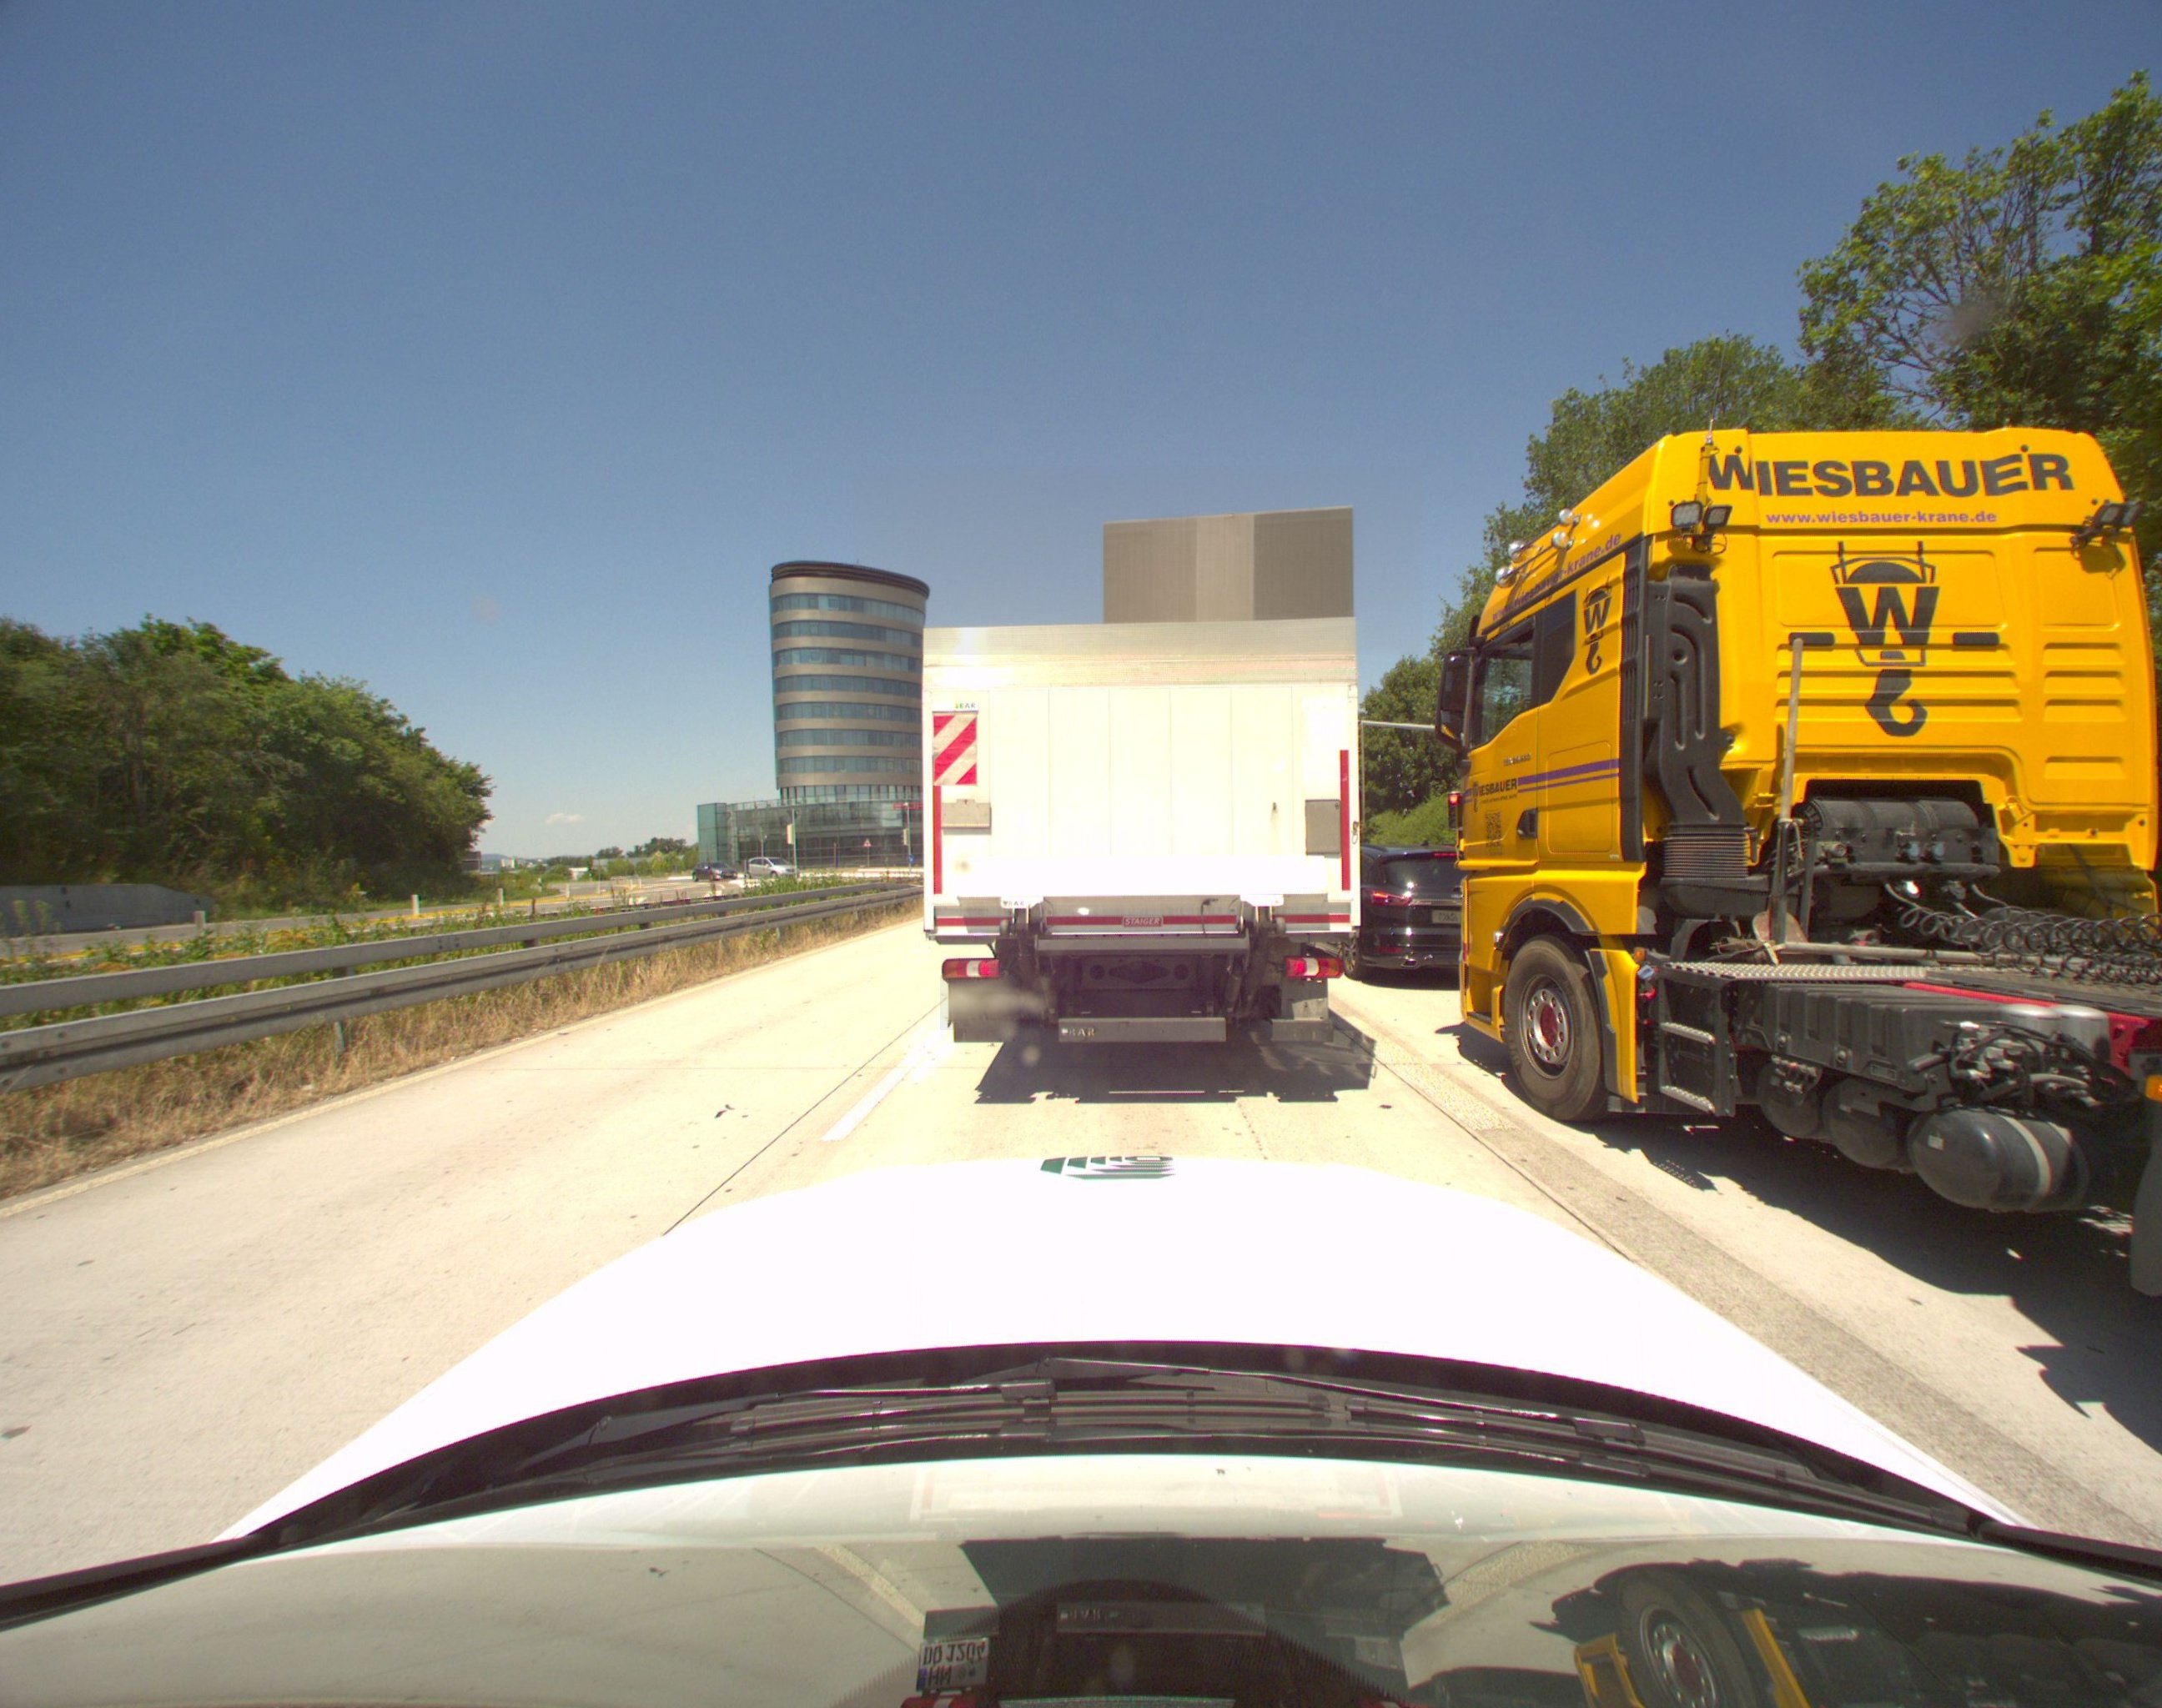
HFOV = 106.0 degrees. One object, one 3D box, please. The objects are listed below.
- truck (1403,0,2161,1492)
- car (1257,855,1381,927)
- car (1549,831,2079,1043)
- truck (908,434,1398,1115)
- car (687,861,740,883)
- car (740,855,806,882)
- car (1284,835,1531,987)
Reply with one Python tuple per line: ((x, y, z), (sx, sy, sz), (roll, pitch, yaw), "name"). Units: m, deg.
((3.924, -0.459, 2.464), (3.003, 3.772, 7.470), (0, 0, 1), "truck")
((5.160, 0.741, 18.275), (1.759, 1.410, 4.615), (0, -1, 5), "car")
((7.724, 0.731, 9.439), (1.763, 1.807, 4.789), (0, -1, -2), "car")
((0.547, -0.419, 9.319), (2.759, 3.860, 9.374), (0, -1, 2), "truck")
((-26.716, 1.304, 59.142), (4.273, 1.456, 1.708), (-3, -2, 37), "car")
((-20.668, 0.985, 54.598), (4.274, 1.595, 1.788), (-3, -2, 29), "car")
((4.102, 0.638, 11.127), (1.776, 1.639, 4.652), (0, -1, 4), "car")
